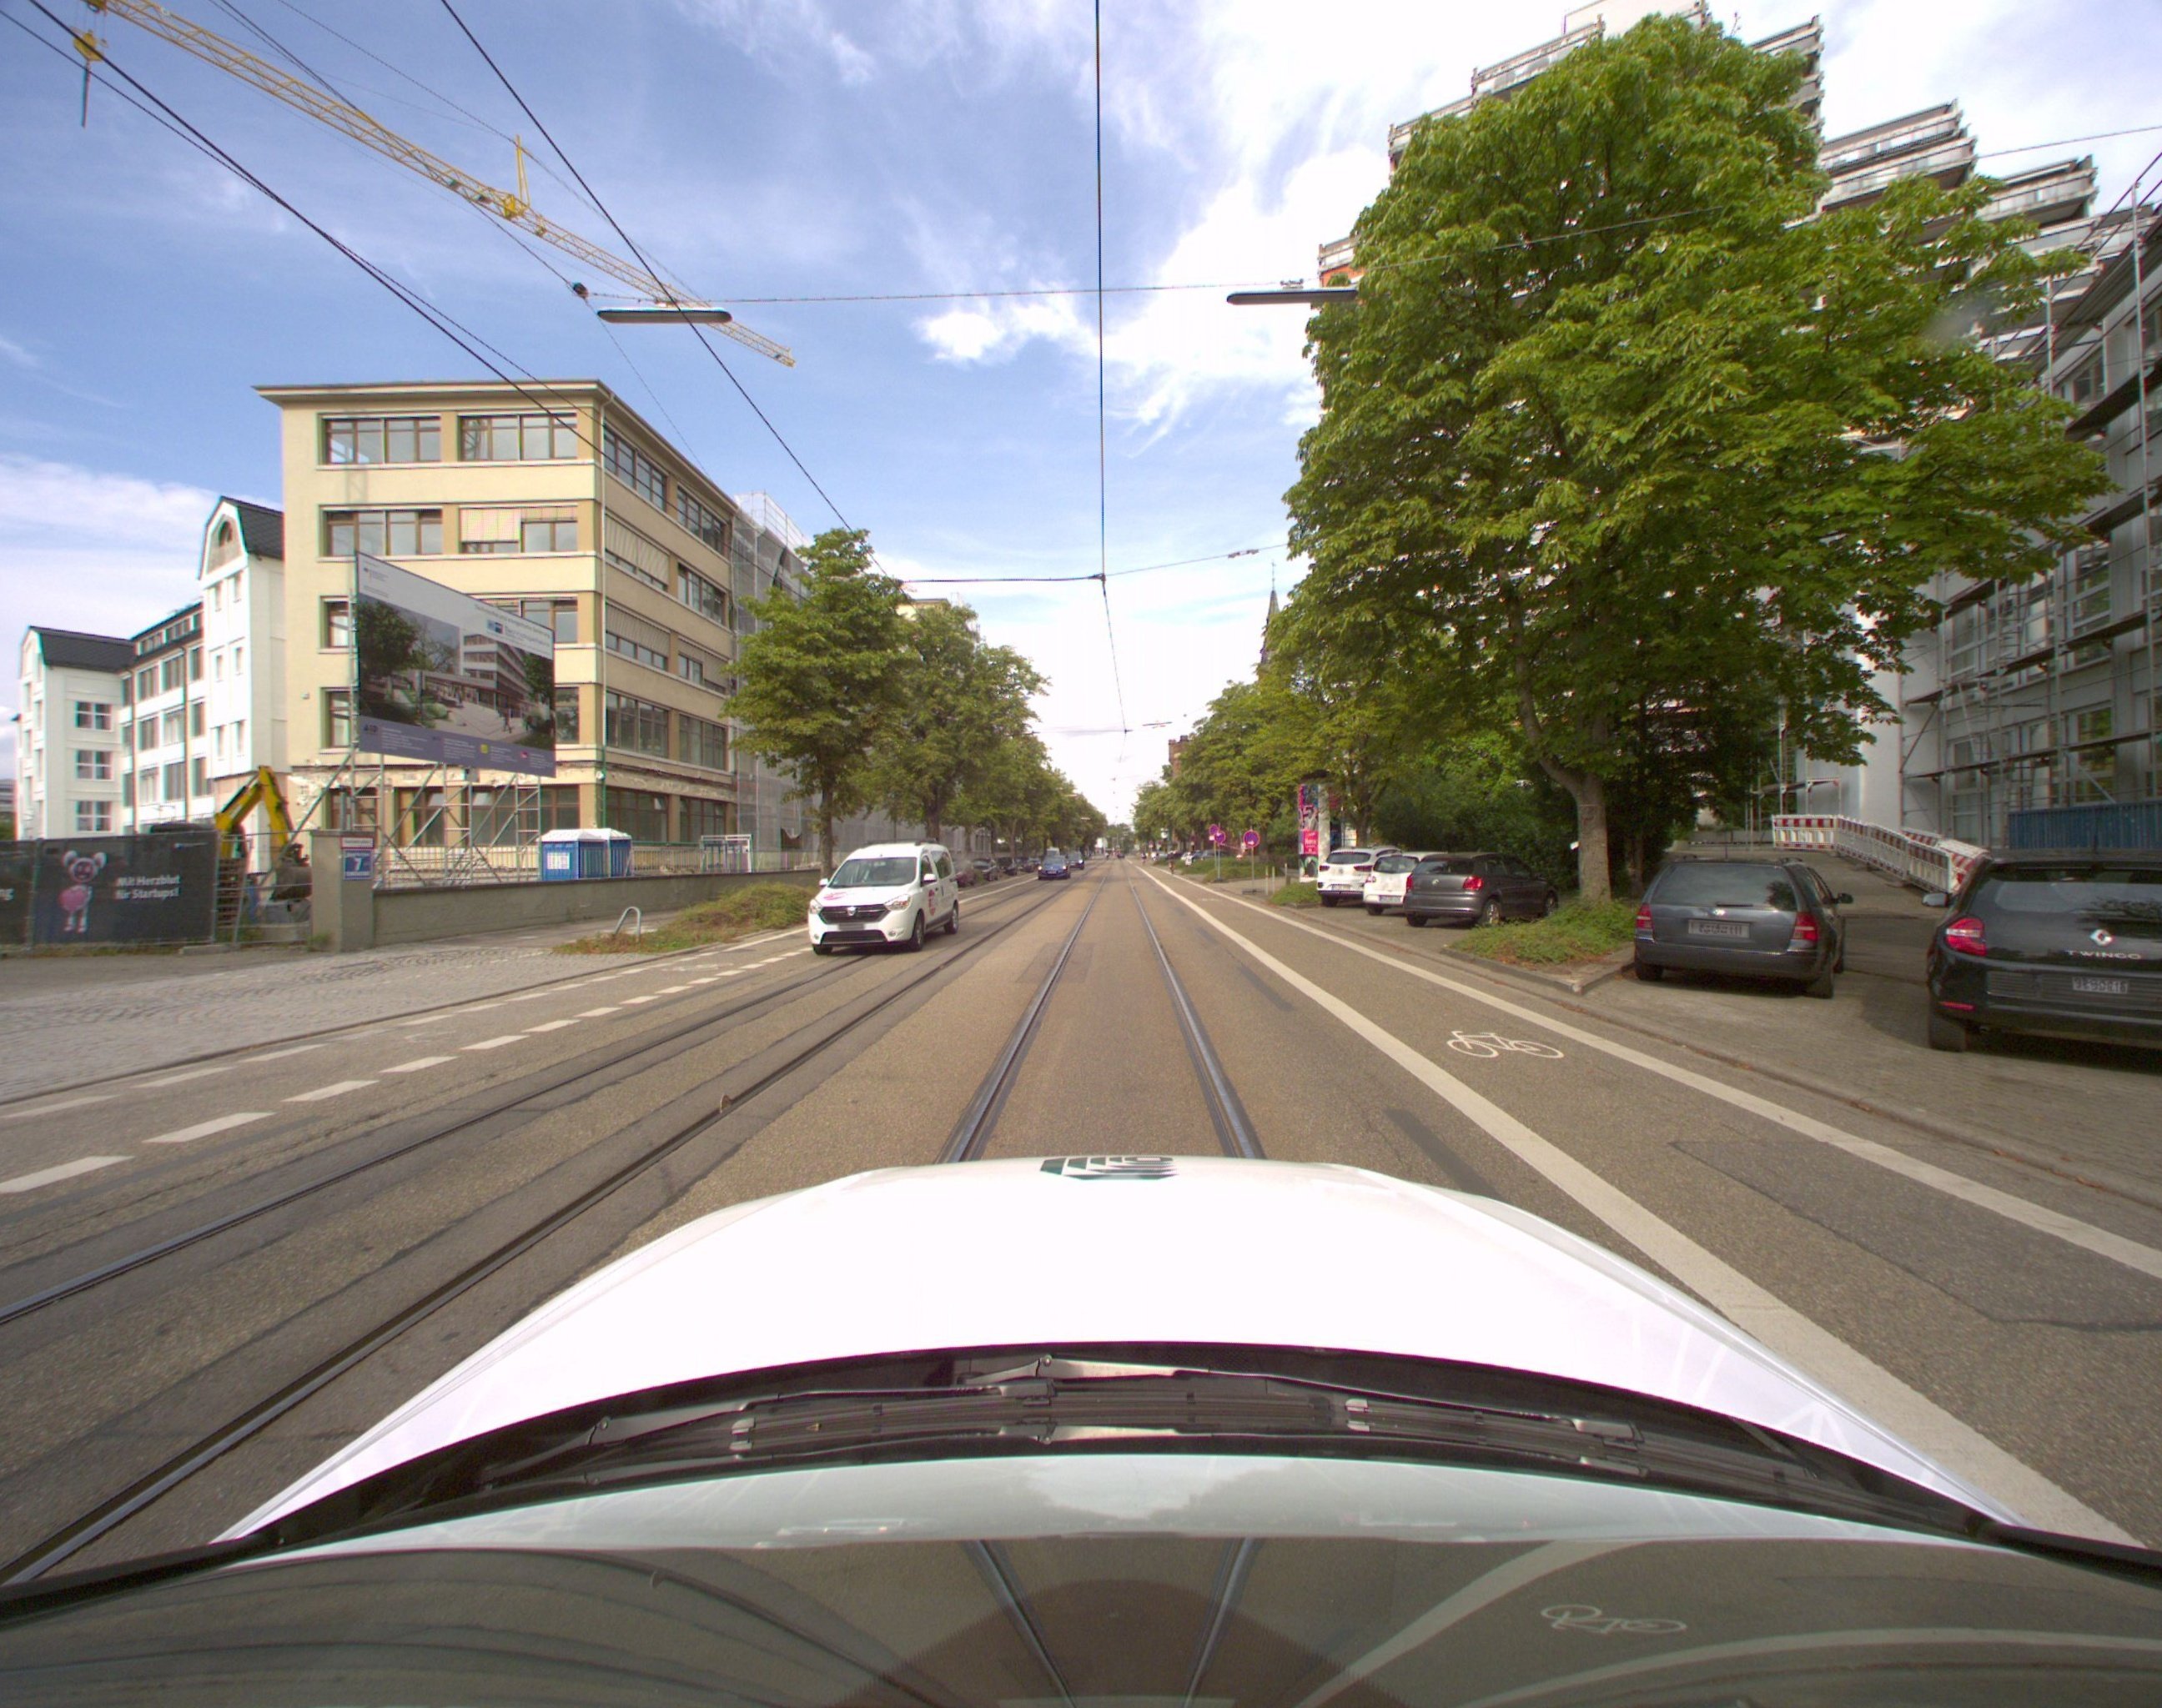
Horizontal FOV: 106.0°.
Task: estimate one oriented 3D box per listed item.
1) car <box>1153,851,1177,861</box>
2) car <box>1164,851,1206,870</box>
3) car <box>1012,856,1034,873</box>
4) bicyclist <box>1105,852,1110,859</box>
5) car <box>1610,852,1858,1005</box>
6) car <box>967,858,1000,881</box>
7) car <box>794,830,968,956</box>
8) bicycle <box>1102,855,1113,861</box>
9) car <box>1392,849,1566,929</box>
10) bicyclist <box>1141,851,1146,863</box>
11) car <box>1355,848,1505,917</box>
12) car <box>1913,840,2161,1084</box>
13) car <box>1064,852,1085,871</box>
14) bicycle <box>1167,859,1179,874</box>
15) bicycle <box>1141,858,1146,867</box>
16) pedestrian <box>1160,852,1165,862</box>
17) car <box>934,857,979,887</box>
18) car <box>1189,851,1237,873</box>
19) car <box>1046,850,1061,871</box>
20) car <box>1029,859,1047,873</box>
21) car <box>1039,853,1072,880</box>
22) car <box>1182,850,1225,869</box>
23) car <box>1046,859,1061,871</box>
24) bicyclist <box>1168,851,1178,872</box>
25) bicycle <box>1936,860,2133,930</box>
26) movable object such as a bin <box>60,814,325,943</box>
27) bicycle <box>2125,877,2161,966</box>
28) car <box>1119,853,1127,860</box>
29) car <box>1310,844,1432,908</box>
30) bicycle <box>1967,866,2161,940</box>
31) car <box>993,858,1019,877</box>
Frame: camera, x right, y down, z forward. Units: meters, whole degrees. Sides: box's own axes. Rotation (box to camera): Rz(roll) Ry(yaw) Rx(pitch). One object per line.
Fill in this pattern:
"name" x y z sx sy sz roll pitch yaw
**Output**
"car" 14.870 0.376 144.622 3.978 1.693 1.998 -1 0 -3
"car" 9.012 0.519 70.490 3.667 1.602 1.661 0 -1 -43
"car" -5.170 0.919 73.017 1.585 1.402 3.962 0 0 0
"bicyclist" 5.526 0.285 168.898 0.841 1.504 0.771 -1 0 9
"car" 7.882 0.701 9.676 4.194 1.415 1.794 0 -1 -45
"car" -6.232 0.948 52.417 1.585 1.402 3.962 0 0 0
"car" -3.316 0.587 14.449 1.724 1.884 4.383 -1 0 4
"bicycle" 5.481 0.805 168.901 2.260 1.189 0.771 -1 0 10
"car" 8.025 0.637 16.340 3.663 1.419 1.663 0 -1 -37
"bicyclist" 7.781 0.355 101.280 0.656 1.496 0.930 -1 0 3
"car" 8.296 0.621 19.263 3.663 1.474 1.663 0 -1 -37
"car" 7.887 0.665 6.489 3.436 1.537 1.577 -1 0 -41
"car" -0.555 0.666 75.388 1.726 1.628 4.380 -2 0 2
"bicycle" 6.444 0.865 57.134 0.591 1.043 1.978 -1 0 0
"bicycle" 7.783 1.065 101.273 0.661 1.043 1.842 -1 0 3
"pedestrian" 14.425 0.588 144.387 0.741 1.790 0.734 -1 -1 17
"car" -6.549 0.941 43.217 1.629 1.496 3.964 0 0 2
"car" 10.002 0.588 61.513 3.667 1.602 1.661 0 -1 -43
"car" -3.516 0.843 106.773 1.715 2.704 5.470 0 0 0
"car" -4.369 1.186 83.223 1.585 1.402 3.962 0 0 0
"car" -1.520 0.731 50.122 1.725 1.496 4.381 -1 0 2
"car" 10.321 0.454 68.310 3.667 1.602 1.661 0 -1 -43
"car" -3.168 1.260 93.395 1.585 1.402 3.962 0 0 0
"bicyclist" 6.445 0.518 57.137 0.591 1.459 0.875 -1 0 0
"bicycle" 15.116 0.620 12.995 1.952 1.043 0.598 0 0 39
"movable object such as a bin" -18.352 0.495 16.961 3.030 2.443 2.506 -1 -1 12
"bicycle" 13.615 0.785 9.422 1.817 1.043 0.456 -2 -1 31
"car" 11.155 0.571 216.653 1.788 1.824 4.680 0 0 2
"car" 8.052 0.559 22.488 3.667 1.602 1.661 0 -1 -43
"bicycle" 14.751 0.701 12.160 1.952 1.043 0.598 -1 0 30
"car" -5.775 0.989 62.725 1.585 1.402 3.962 0 0 0
